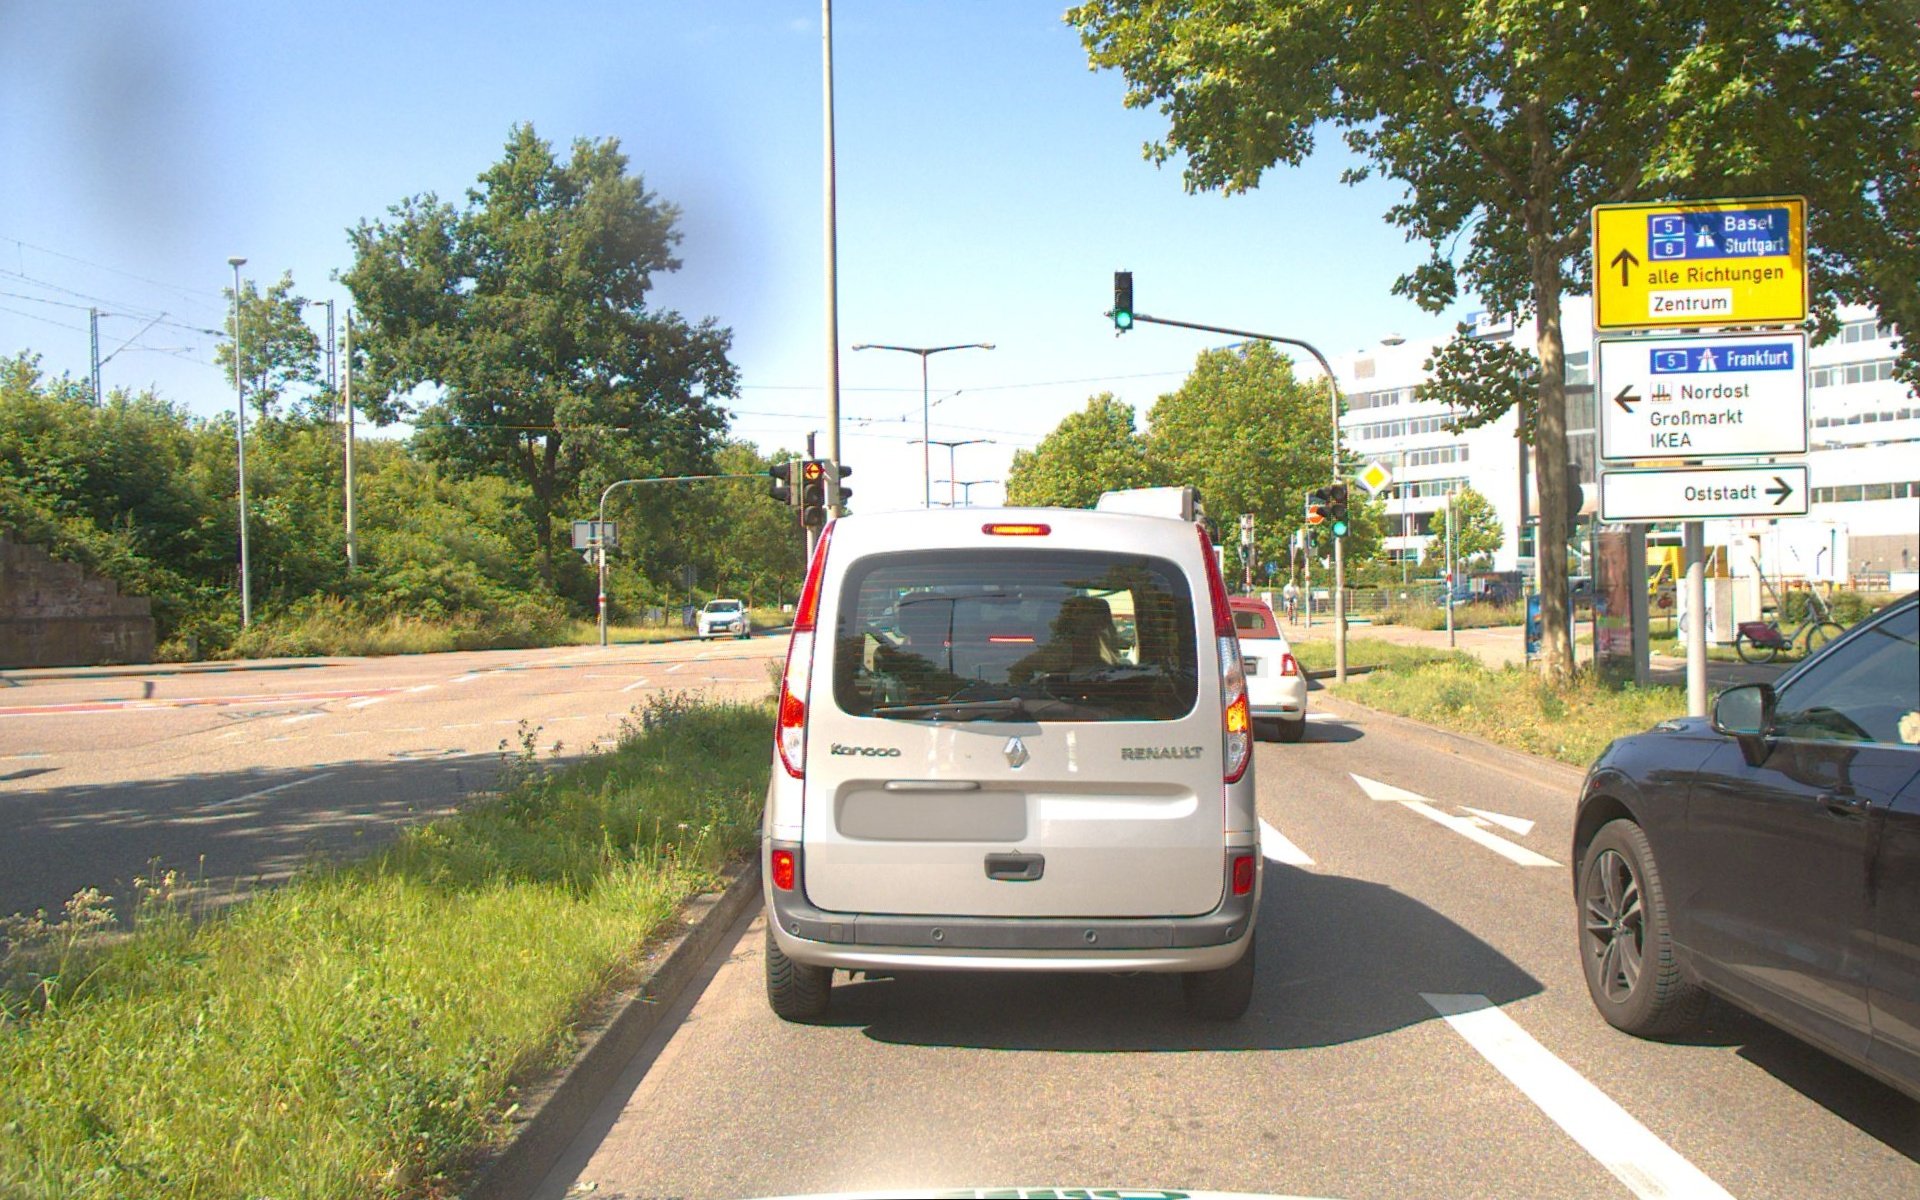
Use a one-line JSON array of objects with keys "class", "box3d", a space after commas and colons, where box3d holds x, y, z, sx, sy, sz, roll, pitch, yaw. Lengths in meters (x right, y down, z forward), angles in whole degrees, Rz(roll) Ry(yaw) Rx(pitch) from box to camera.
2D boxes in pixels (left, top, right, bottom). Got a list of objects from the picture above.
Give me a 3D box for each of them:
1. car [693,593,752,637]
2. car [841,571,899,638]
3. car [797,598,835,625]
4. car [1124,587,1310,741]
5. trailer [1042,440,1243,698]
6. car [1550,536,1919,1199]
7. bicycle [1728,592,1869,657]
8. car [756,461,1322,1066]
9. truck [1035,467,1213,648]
[{"class": "car", "box3d": [-8.870, 0.543, 62.069, 1.665, 1.534, 3.999, -1, 1, -1]}, {"class": "car", "box3d": [-3.744, 0.187, 69.530, 1.952, 2.653, 5.135, -1, 0, 2]}, {"class": "car", "box3d": [-9.020, 0.721, 103.976, 1.872, 1.670, 3.738, -1, 0, 2]}, {"class": "car", "box3d": [2.788, 0.661, 18.514, 1.507, 1.541, 3.259, 1, 0, -1]}, {"class": "trailer", "box3d": [3.035, -0.421, 30.267, 2.839, 3.686, 12.691, 1, 0, 4]}, {"class": "car", "box3d": [3.237, 0.671, 4.189, 1.837, 1.619, 4.432, 1, 0, -1]}, {"class": "bicycle", "box3d": [13.794, 0.405, 27.256, 1.959, 1.031, 0.621, -1, 0, 16]}, {"class": "car", "box3d": [0.224, 0.523, 7.195, 1.750, 1.870, 3.999, 1, 0, -1]}, {"class": "truck", "box3d": [3.892, -0.857, 37.563, 2.849, 3.707, 7.194, 1, 0, 15]}]
